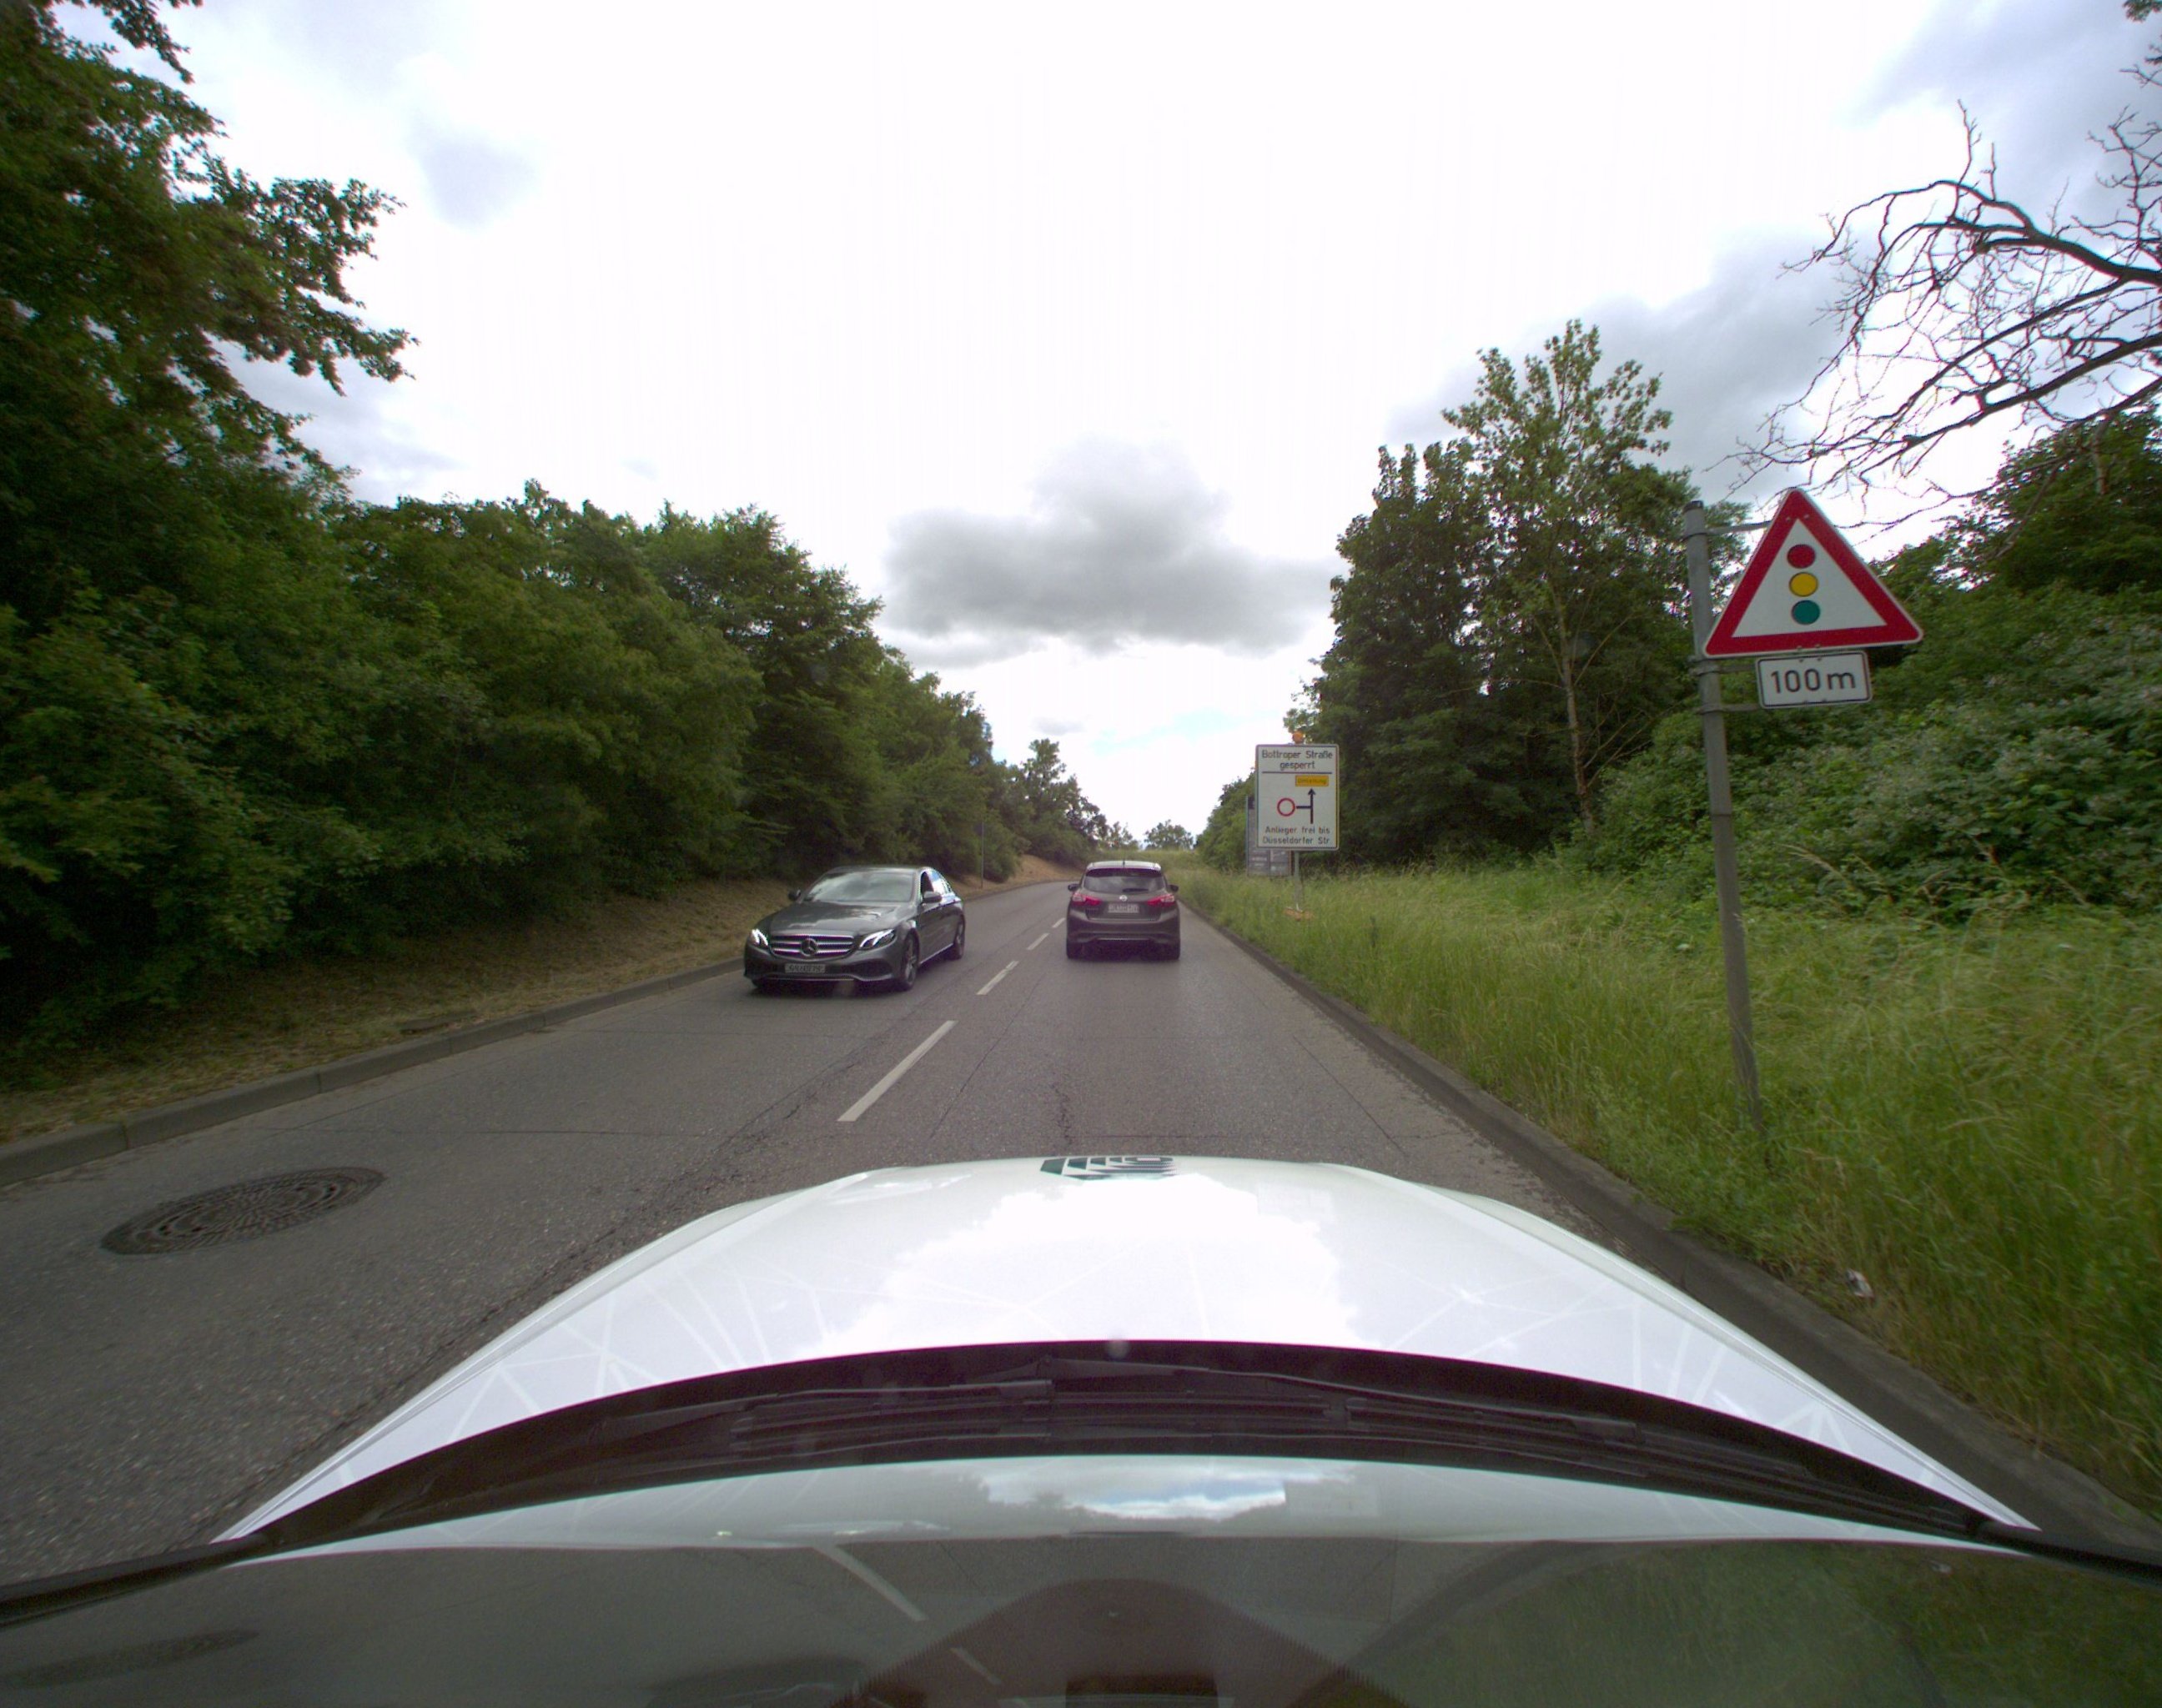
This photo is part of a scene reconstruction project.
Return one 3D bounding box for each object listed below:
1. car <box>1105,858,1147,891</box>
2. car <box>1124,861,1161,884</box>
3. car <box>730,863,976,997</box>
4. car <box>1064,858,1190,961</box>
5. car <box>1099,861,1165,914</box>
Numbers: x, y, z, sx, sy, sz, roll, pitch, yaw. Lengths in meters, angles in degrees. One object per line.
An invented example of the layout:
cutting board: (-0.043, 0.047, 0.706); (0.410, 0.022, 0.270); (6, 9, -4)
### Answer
car: (2.199, 0.964, 39.184); (1.711, 1.494, 3.584); (-1, 0, 7)
car: (4.011, 1.159, 52.256); (1.785, 1.398, 4.014); (-1, 0, 13)
car: (-2.766, 0.850, 11.036); (1.823, 1.405, 4.436); (-1, 0, 4)
car: (0.696, 0.827, 13.970); (1.838, 1.493, 4.000); (-1, 0, 0)
car: (1.545, 1.005, 25.955); (1.839, 1.493, 4.227); (-1, 0, 0)
